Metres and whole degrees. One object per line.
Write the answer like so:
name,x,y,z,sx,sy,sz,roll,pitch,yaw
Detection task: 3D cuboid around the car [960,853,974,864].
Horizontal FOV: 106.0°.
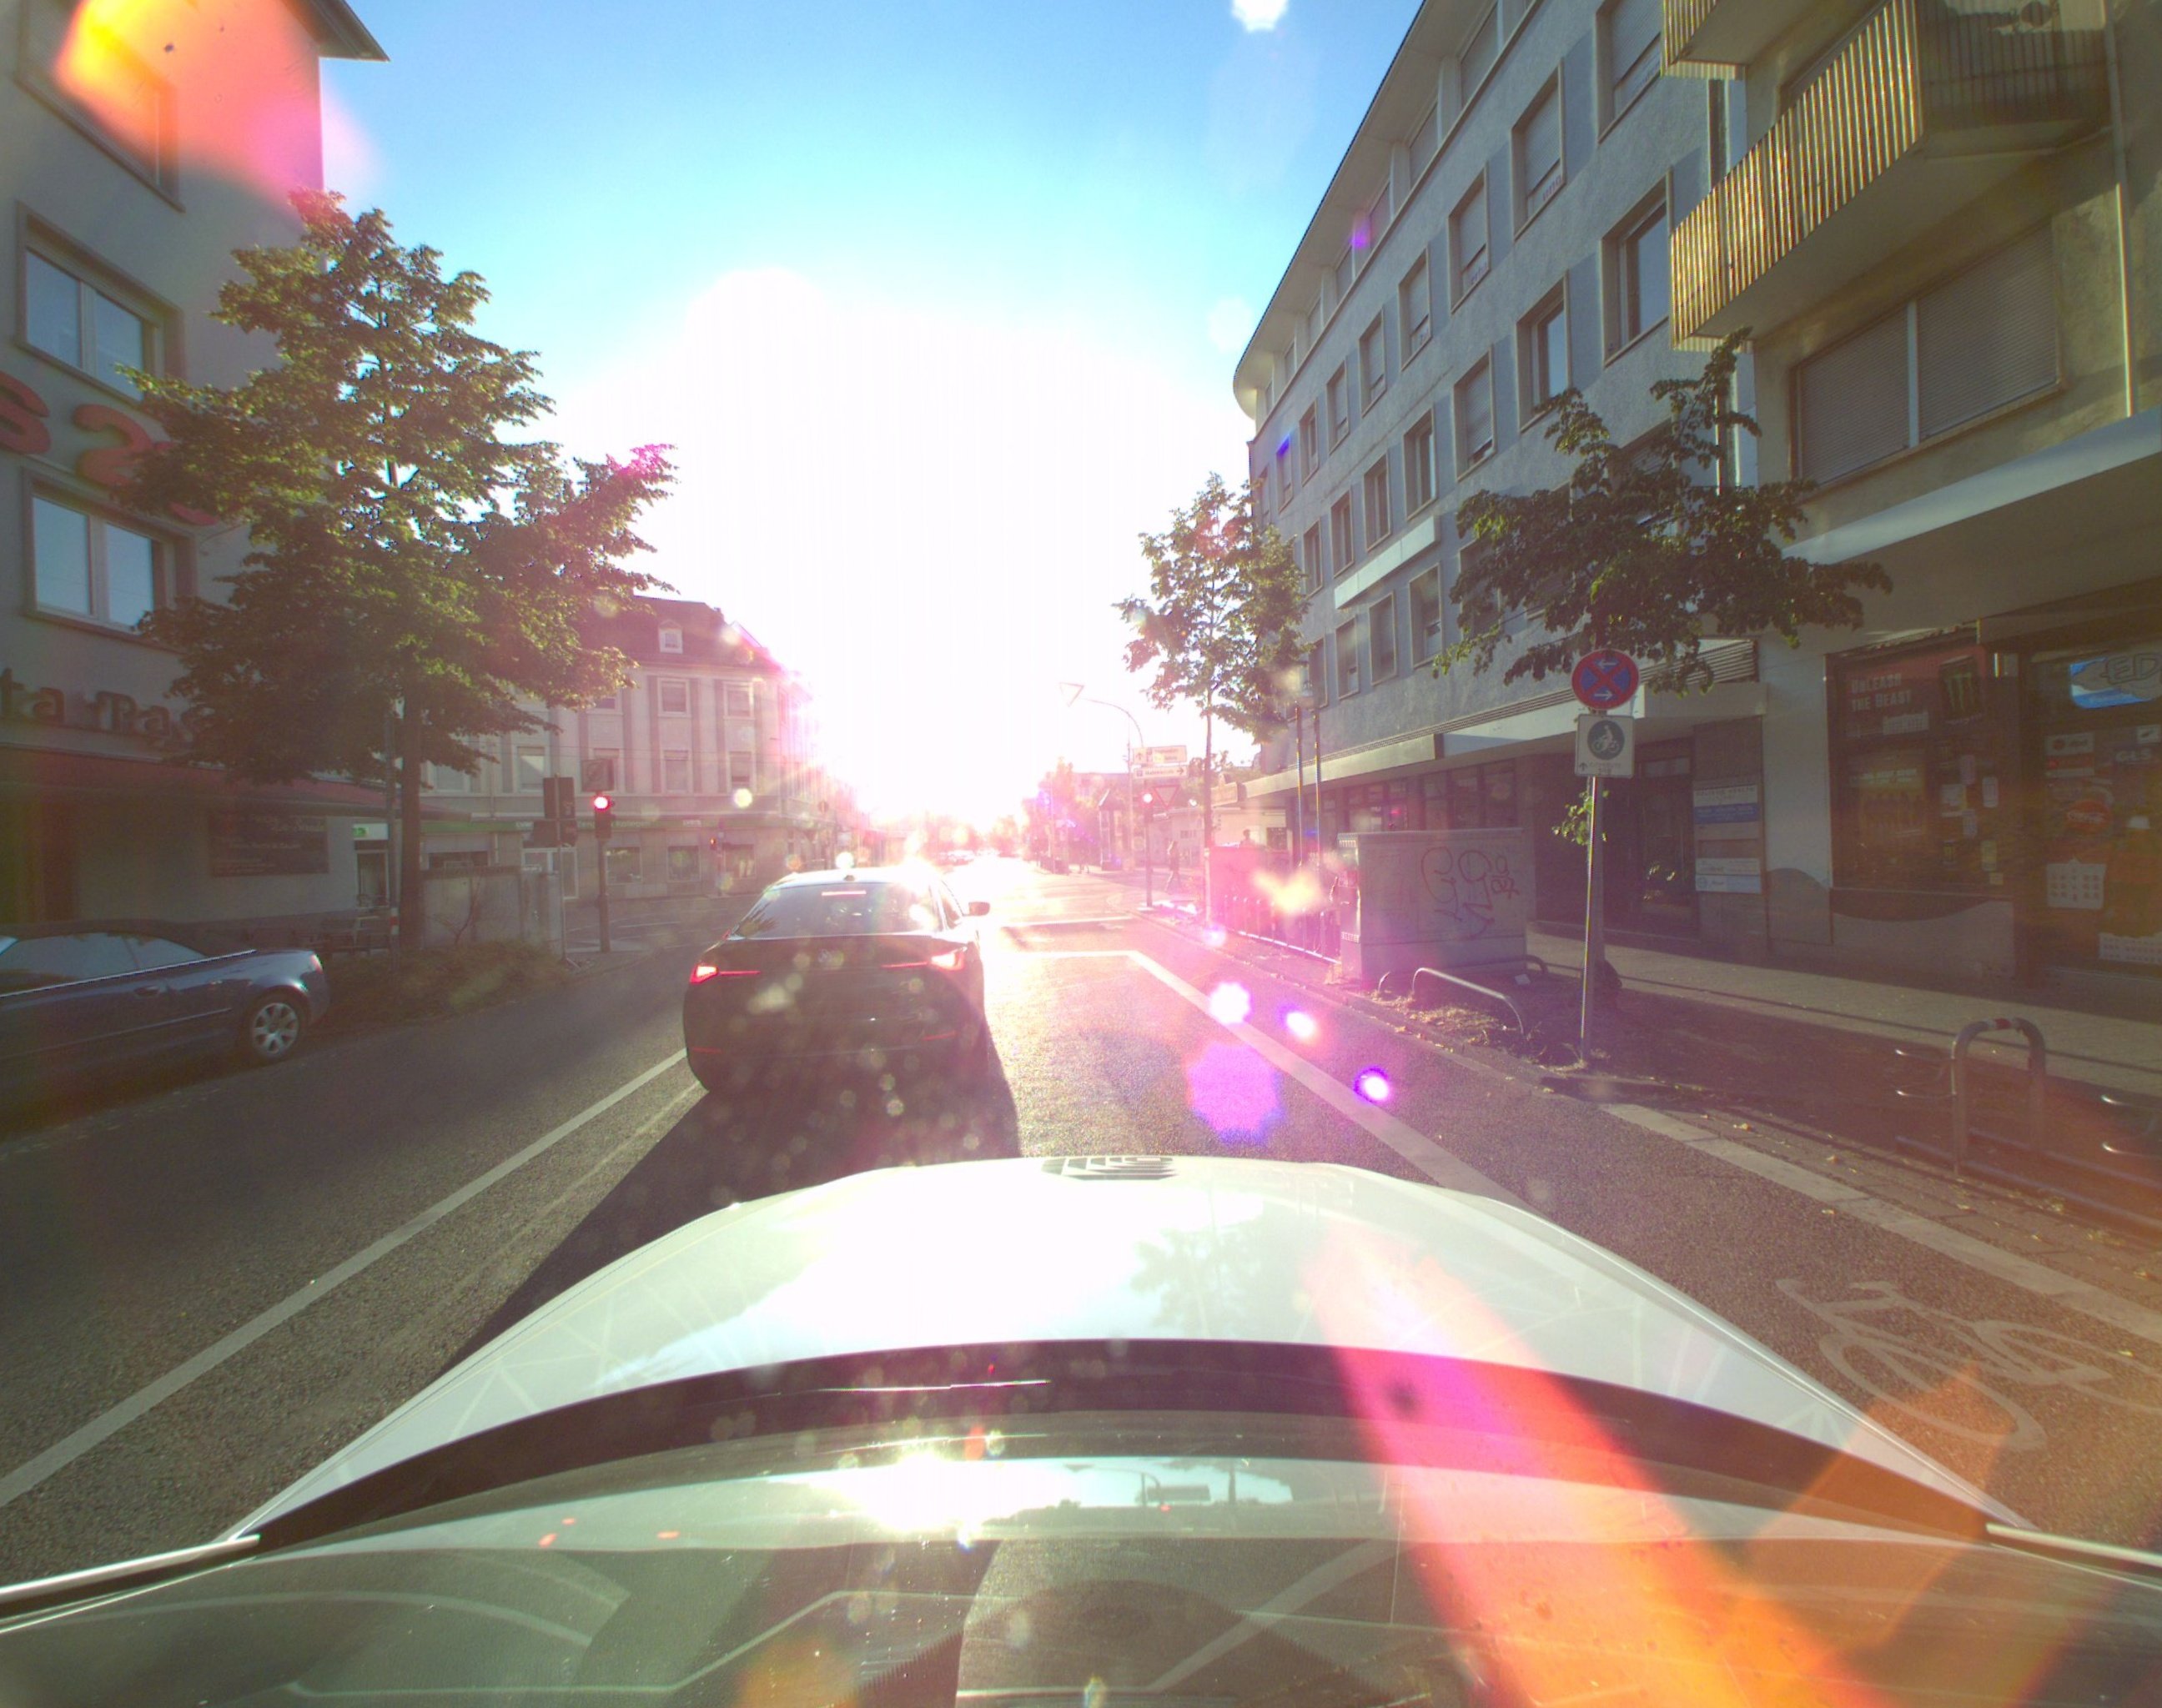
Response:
car,-17.296,0.675,123.897,1.816,1.519,3.992,-2,0,-6

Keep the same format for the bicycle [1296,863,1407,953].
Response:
bicycle,3.795,0.751,11.455,1.438,1.220,0.383,0,0,-5

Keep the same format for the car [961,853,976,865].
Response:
car,-15.695,0.674,113.552,1.816,1.519,3.992,-2,0,-6

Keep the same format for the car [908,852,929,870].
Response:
car,-17.491,0.694,87.723,1.816,1.788,3.992,-2,0,-6

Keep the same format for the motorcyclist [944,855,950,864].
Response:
motorcyclist,-15.515,0.632,94.240,0.574,0.995,0.701,0,0,-6

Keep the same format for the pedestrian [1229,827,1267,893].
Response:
pedestrian,4.841,0.166,23.608,0.834,1.841,0.677,-2,0,-6

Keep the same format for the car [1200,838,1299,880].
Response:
car,7.633,0.194,36.825,4.307,1.707,1.787,-2,1,-32

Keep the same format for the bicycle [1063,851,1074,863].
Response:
bicycle,-1.287,0.312,82.183,0.551,1.159,2.133,-1,-1,-14

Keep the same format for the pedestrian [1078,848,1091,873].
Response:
pedestrian,0.217,0.405,51.664,0.737,1.529,0.468,0,0,-27

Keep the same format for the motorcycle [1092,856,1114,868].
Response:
motorcycle,1.850,0.628,67.986,1.673,0.939,0.851,-2,0,-18

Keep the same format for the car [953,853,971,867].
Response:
car,-13.928,0.639,95.202,1.816,1.519,3.992,-2,0,-6

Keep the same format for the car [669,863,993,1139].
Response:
car,-1.639,0.825,6.656,1.735,1.428,4.213,-1,0,-7

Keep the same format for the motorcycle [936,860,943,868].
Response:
motorcycle,-16.443,1.171,94.735,0.574,0.915,2.196,0,0,-6

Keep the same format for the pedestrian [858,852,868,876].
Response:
pedestrian,-17.290,0.790,64.606,0.642,1.876,0.630,0,0,-7

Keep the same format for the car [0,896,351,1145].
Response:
car,-7.633,1.158,5.547,1.721,1.415,4.270,-4,0,-7

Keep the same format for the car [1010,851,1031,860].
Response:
car,-12.278,0.281,164.092,3.991,1.519,1.816,-2,0,-13

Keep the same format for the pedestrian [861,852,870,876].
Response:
pedestrian,-17.286,0.789,65.443,0.615,1.876,0.676,0,0,-9

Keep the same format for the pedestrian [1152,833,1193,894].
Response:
pedestrian,3.020,0.308,26.966,1.007,1.860,0.634,-7,2,-27

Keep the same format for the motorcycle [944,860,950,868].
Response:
motorcycle,-15.526,1.164,94.337,0.574,0.915,2.196,0,0,-6

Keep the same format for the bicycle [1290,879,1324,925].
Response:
bicycle,4.219,0.879,15.264,0.249,0.796,1.114,0,0,-4

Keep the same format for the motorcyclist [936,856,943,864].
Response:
motorcyclist,-16.445,0.640,94.730,0.574,0.915,2.196,0,0,-6

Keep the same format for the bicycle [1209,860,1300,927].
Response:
bicycle,3.238,0.730,15.203,1.610,1.171,0.318,-2,0,-5

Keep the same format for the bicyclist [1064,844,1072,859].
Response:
bicyclist,-1.308,-0.243,82.242,0.551,1.481,0.719,-1,-1,-15
